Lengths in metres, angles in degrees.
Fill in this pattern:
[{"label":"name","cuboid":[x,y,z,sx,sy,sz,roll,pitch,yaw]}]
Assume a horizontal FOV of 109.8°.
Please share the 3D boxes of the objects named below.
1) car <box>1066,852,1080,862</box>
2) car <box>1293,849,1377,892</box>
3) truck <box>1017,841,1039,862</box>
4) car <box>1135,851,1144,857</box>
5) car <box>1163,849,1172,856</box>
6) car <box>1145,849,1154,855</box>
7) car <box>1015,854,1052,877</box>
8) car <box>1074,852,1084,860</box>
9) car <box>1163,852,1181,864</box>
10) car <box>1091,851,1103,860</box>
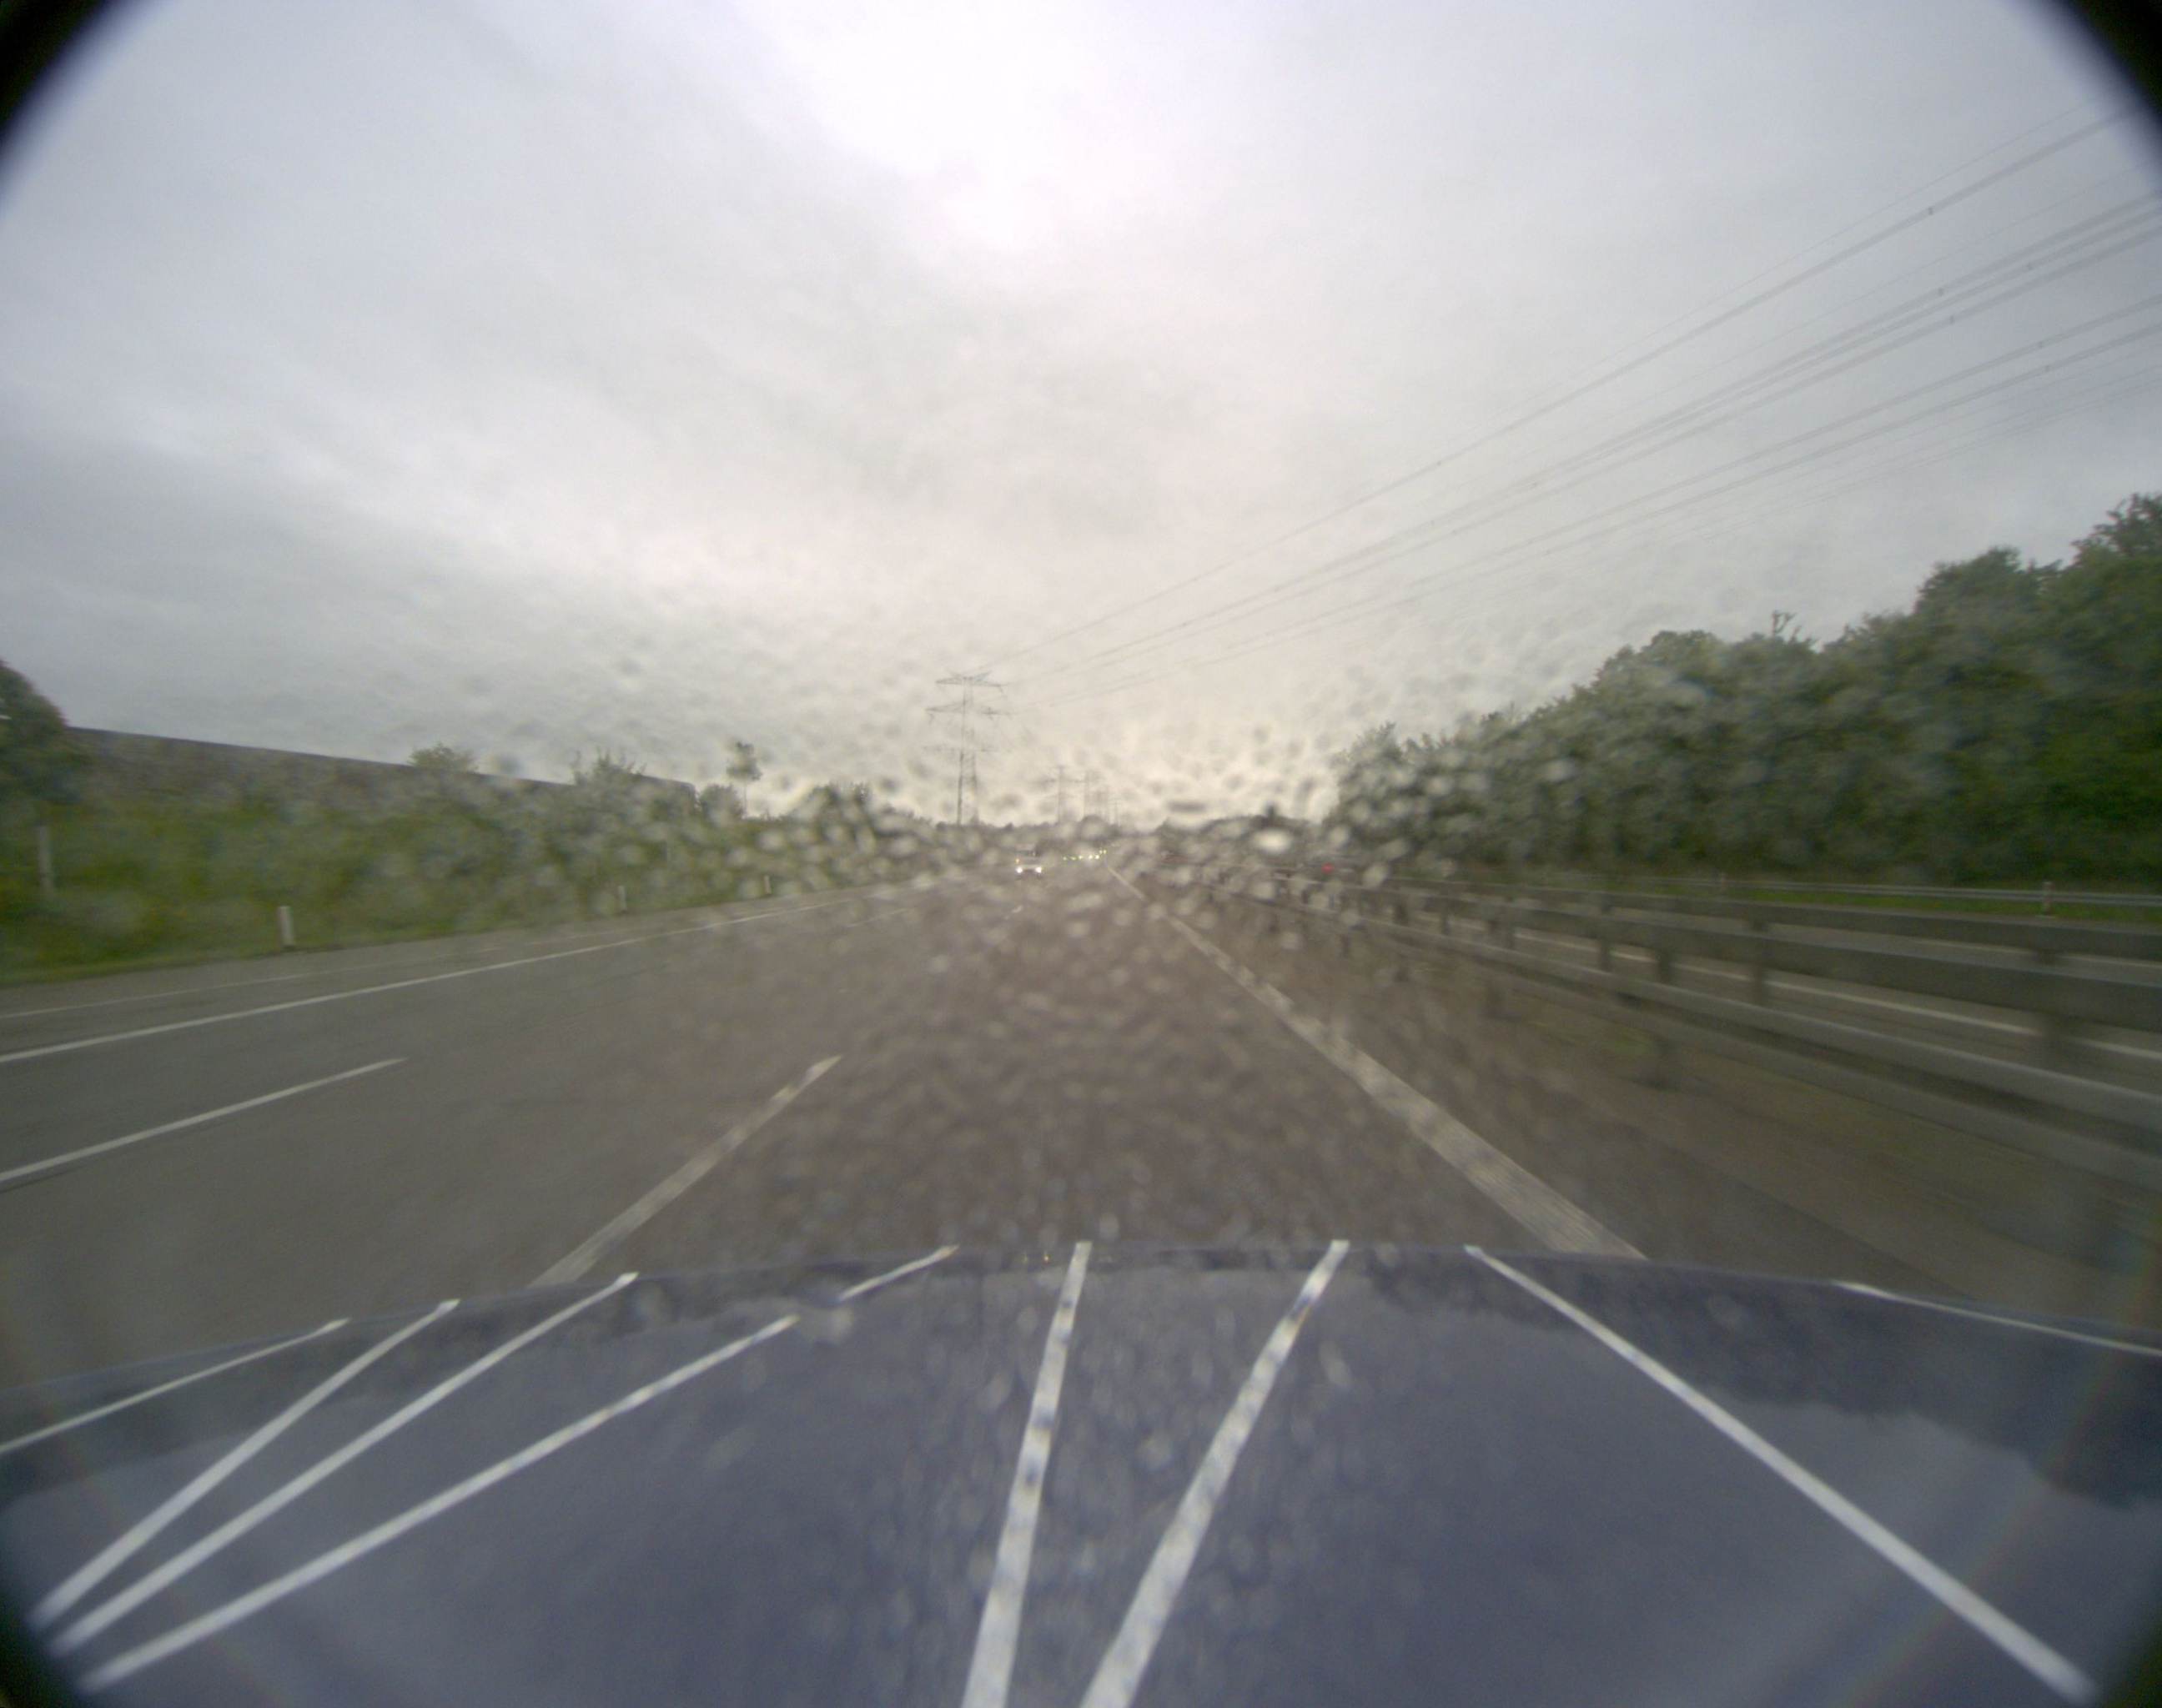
[{"label":"car","cuboid":[-1.242,0.430,121.791,1.998,1.418,4.000,-2,1,3]},{"label":"car","cuboid":[10.366,0.620,31.378,1.928,1.646,4.790,0,0,1]},{"label":"truck","cuboid":[-8.578,-0.427,124.011,2.648,3.325,6.931,-2,1,3]},{"label":"car","cuboid":[14.351,-0.107,186.063,1.761,1.453,4.762,1,0,1]},{"label":"car","cuboid":[24.062,-0.368,210.890,1.954,1.808,4.916,0,0,0]},{"label":"car","cuboid":[18.254,-0.492,202.193,1.909,1.655,4.714,0,0,1]},{"label":"car","cuboid":[-3.185,0.746,51.261,1.998,1.418,4.000,-2,1,3]},{"label":"car","cuboid":[-0.365,0.402,163.793,1.856,1.418,4.000,-2,1,3]},{"label":"car","cuboid":[11.661,0.505,97.421,1.826,1.503,4.790,0,0,1]},{"label":"car","cuboid":[2.907,0.292,140.056,1.998,1.418,4.000,-2,1,3]}]
